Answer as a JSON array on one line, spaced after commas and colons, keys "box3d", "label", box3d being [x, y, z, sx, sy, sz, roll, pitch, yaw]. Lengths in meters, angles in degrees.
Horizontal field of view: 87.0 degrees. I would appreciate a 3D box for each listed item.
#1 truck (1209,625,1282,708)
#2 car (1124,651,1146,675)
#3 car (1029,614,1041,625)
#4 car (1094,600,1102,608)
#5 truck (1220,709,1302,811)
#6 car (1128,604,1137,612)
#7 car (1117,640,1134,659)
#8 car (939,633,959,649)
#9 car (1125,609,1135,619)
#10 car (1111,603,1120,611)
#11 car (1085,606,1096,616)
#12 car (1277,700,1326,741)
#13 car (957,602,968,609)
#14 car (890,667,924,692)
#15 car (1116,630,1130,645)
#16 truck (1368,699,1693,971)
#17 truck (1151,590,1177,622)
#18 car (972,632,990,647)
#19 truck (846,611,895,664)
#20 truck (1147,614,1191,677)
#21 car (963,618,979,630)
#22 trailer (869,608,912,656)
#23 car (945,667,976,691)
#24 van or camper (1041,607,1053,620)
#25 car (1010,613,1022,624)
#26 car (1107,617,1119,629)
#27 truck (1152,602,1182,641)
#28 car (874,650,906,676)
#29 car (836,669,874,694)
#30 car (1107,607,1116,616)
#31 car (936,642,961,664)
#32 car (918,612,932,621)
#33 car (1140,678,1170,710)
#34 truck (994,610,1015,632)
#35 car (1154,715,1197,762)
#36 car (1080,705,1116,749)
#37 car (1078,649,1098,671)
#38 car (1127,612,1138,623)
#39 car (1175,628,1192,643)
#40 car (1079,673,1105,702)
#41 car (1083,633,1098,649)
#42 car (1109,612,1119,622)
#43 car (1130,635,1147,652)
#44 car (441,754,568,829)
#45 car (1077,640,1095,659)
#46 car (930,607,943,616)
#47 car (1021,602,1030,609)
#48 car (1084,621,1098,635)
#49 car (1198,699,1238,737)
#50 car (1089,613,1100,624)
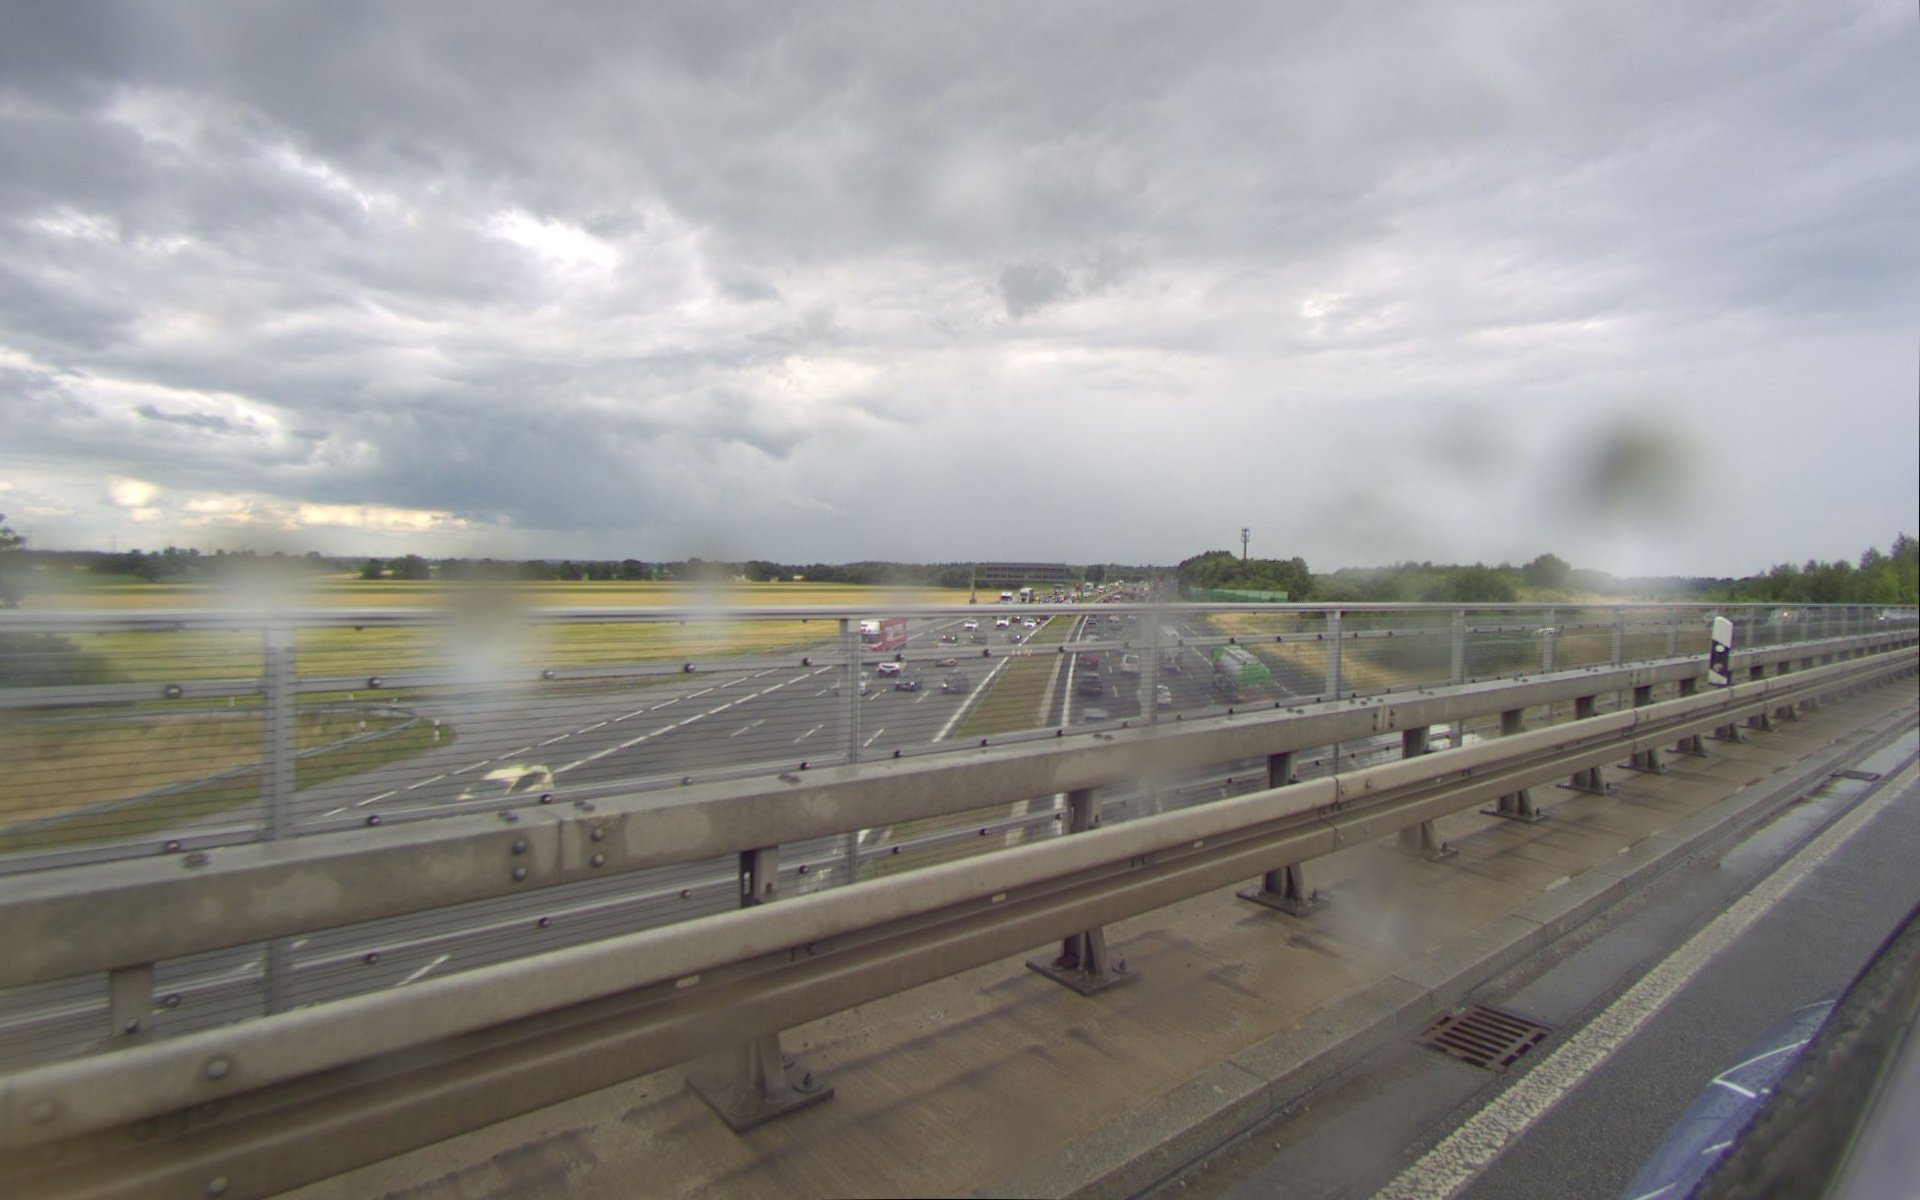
[{"box3d": [22.070, 4.881, 79.247, 3.241, 5.229, 15.597, 0, 1, 8], "label": "truck"}, {"box3d": [15.619, 5.578, 90.532, 1.826, 1.796, 4.713, 0, 1, 8], "label": "car"}, {"box3d": [13.268, 3.437, 179.072, 1.826, 1.690, 4.713, 0, 1, 8], "label": "car"}, {"box3d": [33.796, 0.907, 247.523, 1.826, 1.796, 4.713, 0, 1, 8], "label": "car"}, {"box3d": [13.431, 6.996, 45.795, 2.175, 3.003, 9.287, 0, 1, 8], "label": "truck"}, {"box3d": [39.883, 1.864, 234.259, 1.826, 1.796, 4.713, 0, 1, 8], "label": "car"}, {"box3d": [18.537, 5.503, 113.444, 1.826, 1.796, 4.713, 0, 1, 8], "label": "car"}, {"box3d": [-1.299, 4.995, 124.765, 1.784, 1.690, 4.714, 0, 1, 8], "label": "car"}, {"box3d": [33.039, 2.738, 196.602, 1.826, 1.796, 4.713, 0, 1, 8], "label": "car"}, {"box3d": [36.564, 1.670, 238.075, 1.826, 1.796, 4.713, 0, 1, 8], "label": "car"}, {"box3d": [27.049, 2.274, 210.329, 1.965, 2.039, 3.994, -3, 0, 5], "label": "car"}, {"box3d": [19.397, 6.818, 57.628, 1.826, 1.690, 4.713, 0, 1, 8], "label": "car"}, {"box3d": [0.445, 1.117, 215.086, 1.783, 1.454, 4.715, 0, 1, 7], "label": "car"}, {"box3d": [-4.044, 6.109, 78.079, 1.783, 1.454, 4.715, 0, 1, 7], "label": "car"}, {"box3d": [21.071, 4.848, 130.929, 1.826, 1.796, 4.713, 0, 1, 8], "label": "car"}, {"box3d": [16.505, 6.267, 31.570, 3.545, 4.594, 15.590, 0, 1, 9], "label": "truck"}, {"box3d": [35.581, 0.921, 176.882, 3.434, 5.419, 15.597, 0, 1, 8], "label": "truck"}, {"box3d": [2.770, 5.092, 129.910, 1.784, 1.690, 4.714, 0, 1, 8], "label": "car"}, {"box3d": [-8.575, 3.507, 97.937, 2.641, 4.684, 9.733, 0, 1, 8], "label": "truck"}, {"box3d": [21.153, 4.417, 103.092, 3.241, 5.511, 15.597, 0, 1, 8], "label": "truck"}, {"box3d": [1.685, 3.546, 151.491, 1.784, 1.690, 4.714, 0, 1, 8], "label": "car"}, {"box3d": [-7.266, 3.312, 107.649, 2.641, 4.687, 9.888, 0, 1, 8], "label": "trailer"}, {"box3d": [0.054, 6.042, 77.589, 1.783, 1.454, 4.715, 0, 1, 7], "label": "car"}, {"box3d": [17.149, 2.597, 199.675, 2.025, 2.481, 7.313, 0, 1, 8], "label": "van or camper"}, {"box3d": [10.127, 3.331, 183.408, 1.784, 1.690, 4.714, 0, 1, 8], "label": "car"}, {"box3d": [24.538, 3.658, 162.145, 1.826, 1.796, 4.713, 0, 1, 8], "label": "car"}, {"box3d": [31.287, 3.084, 153.442, 3.434, 5.419, 15.597, 0, 1, 8], "label": "truck"}, {"box3d": [-5.938, 5.354, 86.422, 1.783, 1.907, 4.715, 0, 1, 7], "label": "car"}, {"box3d": [-7.645, 5.940, 74.099, 1.783, 1.454, 4.715, 0, 1, 7], "label": "car"}, {"box3d": [31.575, 2.442, 210.746, 1.826, 1.796, 4.713, 0, 1, 8], "label": "car"}, {"box3d": [-1.119, 5.141, 98.442, 1.783, 1.870, 4.715, 0, 1, 7], "label": "car"}, {"box3d": [-6.186, 2.981, 180.466, 1.783, 1.454, 4.715, 0, 1, 7], "label": "car"}, {"box3d": [13.591, 6.525, 70.710, 1.826, 1.690, 4.713, 0, 1, 8], "label": "car"}, {"box3d": [7.172, 3.359, 163.106, 2.553, 3.219, 8.376, 0, 1, 9], "label": "truck"}, {"box3d": [10.954, 7.043, 51.751, 1.826, 1.690, 4.713, 0, 1, 8], "label": "car"}, {"box3d": [7.415, 6.771, 54.426, 1.826, 1.690, 4.713, 0, 1, 8], "label": "car"}, {"box3d": [12.156, 5.670, 95.809, 1.826, 1.690, 4.713, 0, 1, 8], "label": "car"}, {"box3d": [30.838, 3.099, 181.201, 1.826, 1.796, 4.713, 0, 1, 8], "label": "car"}, {"box3d": [30.158, 4.816, 136.761, 1.826, 1.796, 4.713, 0, 1, 8], "label": "car"}, {"box3d": [9.860, 6.517, 75.435, 1.826, 1.690, 4.713, 0, 1, 8], "label": "car"}, {"box3d": [16.788, 5.232, 130.242, 1.826, 1.796, 4.713, 0, 1, 8], "label": "car"}, {"box3d": [29.018, 3.212, 190.399, 1.826, 1.796, 4.713, 0, 1, 8], "label": "car"}, {"box3d": [21.773, 5.252, 123.510, 1.826, 1.796, 4.713, 0, 1, 8], "label": "car"}, {"box3d": [-16.089, 6.726, 36.046, 1.785, 1.690, 4.710, 0, 1, 10], "label": "car"}, {"box3d": [13.721, 5.366, 110.159, 1.826, 1.796, 4.713, 0, 1, 8], "label": "car"}, {"box3d": [-4.392, 2.163, 192.840, 1.783, 1.454, 4.715, 0, 1, 7], "label": "car"}, {"box3d": [15.671, 1.358, 240.887, 1.826, 1.690, 4.713, 0, 1, 8], "label": "car"}, {"box3d": [18.725, 3.997, 144.429, 1.826, 1.796, 4.713, 0, 1, 8], "label": "car"}, {"box3d": [15.551, 7.065, 61.120, 1.826, 1.690, 4.713, 0, 1, 8], "label": "car"}, {"box3d": [24.442, 3.399, 183.859, 1.826, 1.796, 4.713, 0, 1, 8], "label": "car"}]
